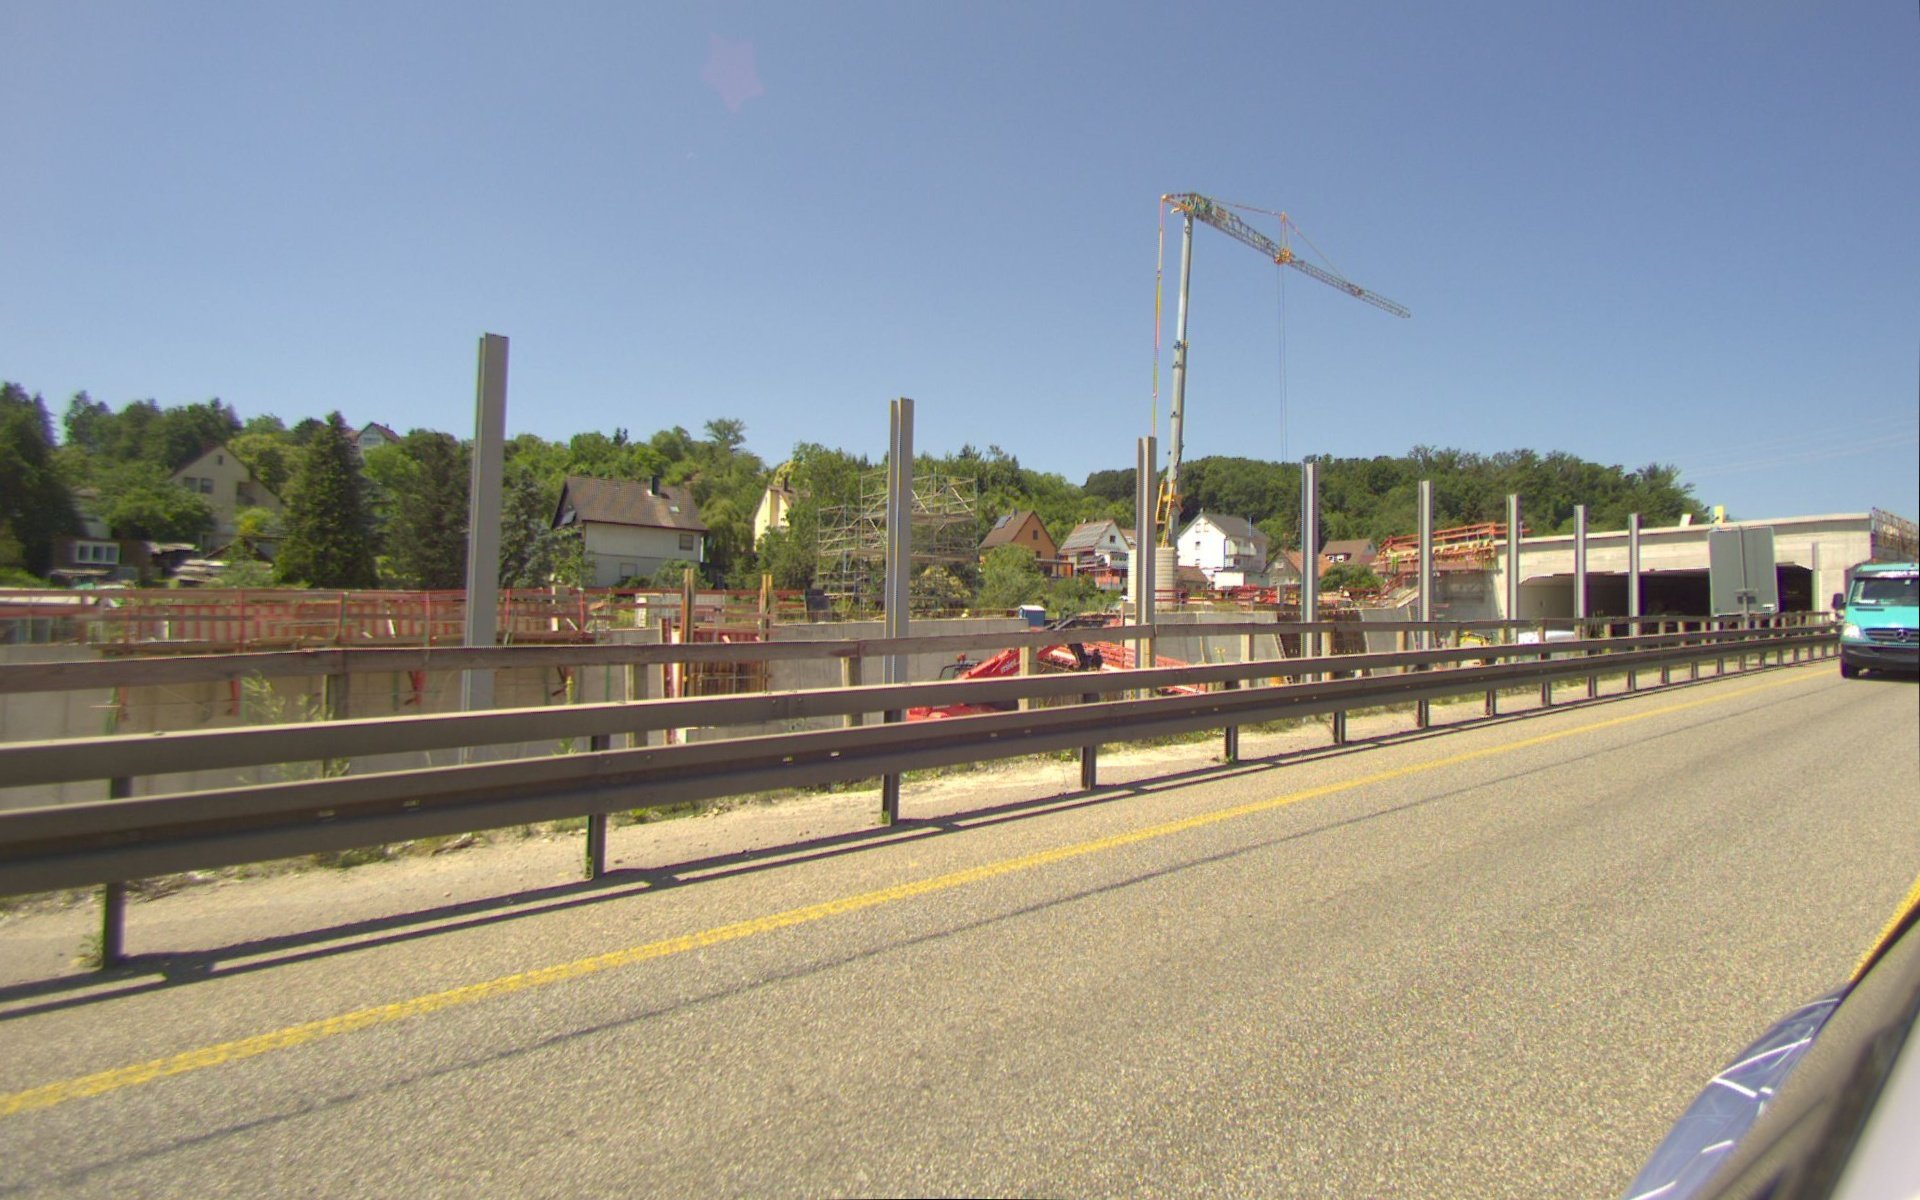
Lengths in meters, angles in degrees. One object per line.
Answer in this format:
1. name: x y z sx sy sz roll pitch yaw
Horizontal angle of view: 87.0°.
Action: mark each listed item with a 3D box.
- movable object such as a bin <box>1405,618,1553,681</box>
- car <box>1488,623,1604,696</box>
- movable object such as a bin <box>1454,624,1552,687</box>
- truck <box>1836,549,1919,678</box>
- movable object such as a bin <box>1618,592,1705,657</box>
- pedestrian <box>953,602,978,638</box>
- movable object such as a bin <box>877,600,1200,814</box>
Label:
1. movable object such as a bin: 30.585 3.010 60.075 3.425 2.941 7.159 -1 -8 -18
2. car: 27.076 2.635 46.622 6.894 2.891 2.151 -1 1 -37
3. movable object such as a bin: 26.999 2.663 50.243 5.398 2.710 2.151 -1 1 -37
4. truck: 20.343 0.167 21.037 7.303 2.386 2.138 -2 1 -40
5. movable object such as a bin: 49.306 1.598 71.012 8.998 4.113 2.958 -2 1 -41
6. pedestrian: 0.341 1.162 59.597 0.954 2.012 1.140 -1 1 -37
7. movable object such as a bin: 2.480 2.513 28.087 9.489 4.802 3.232 -2 1 -41
